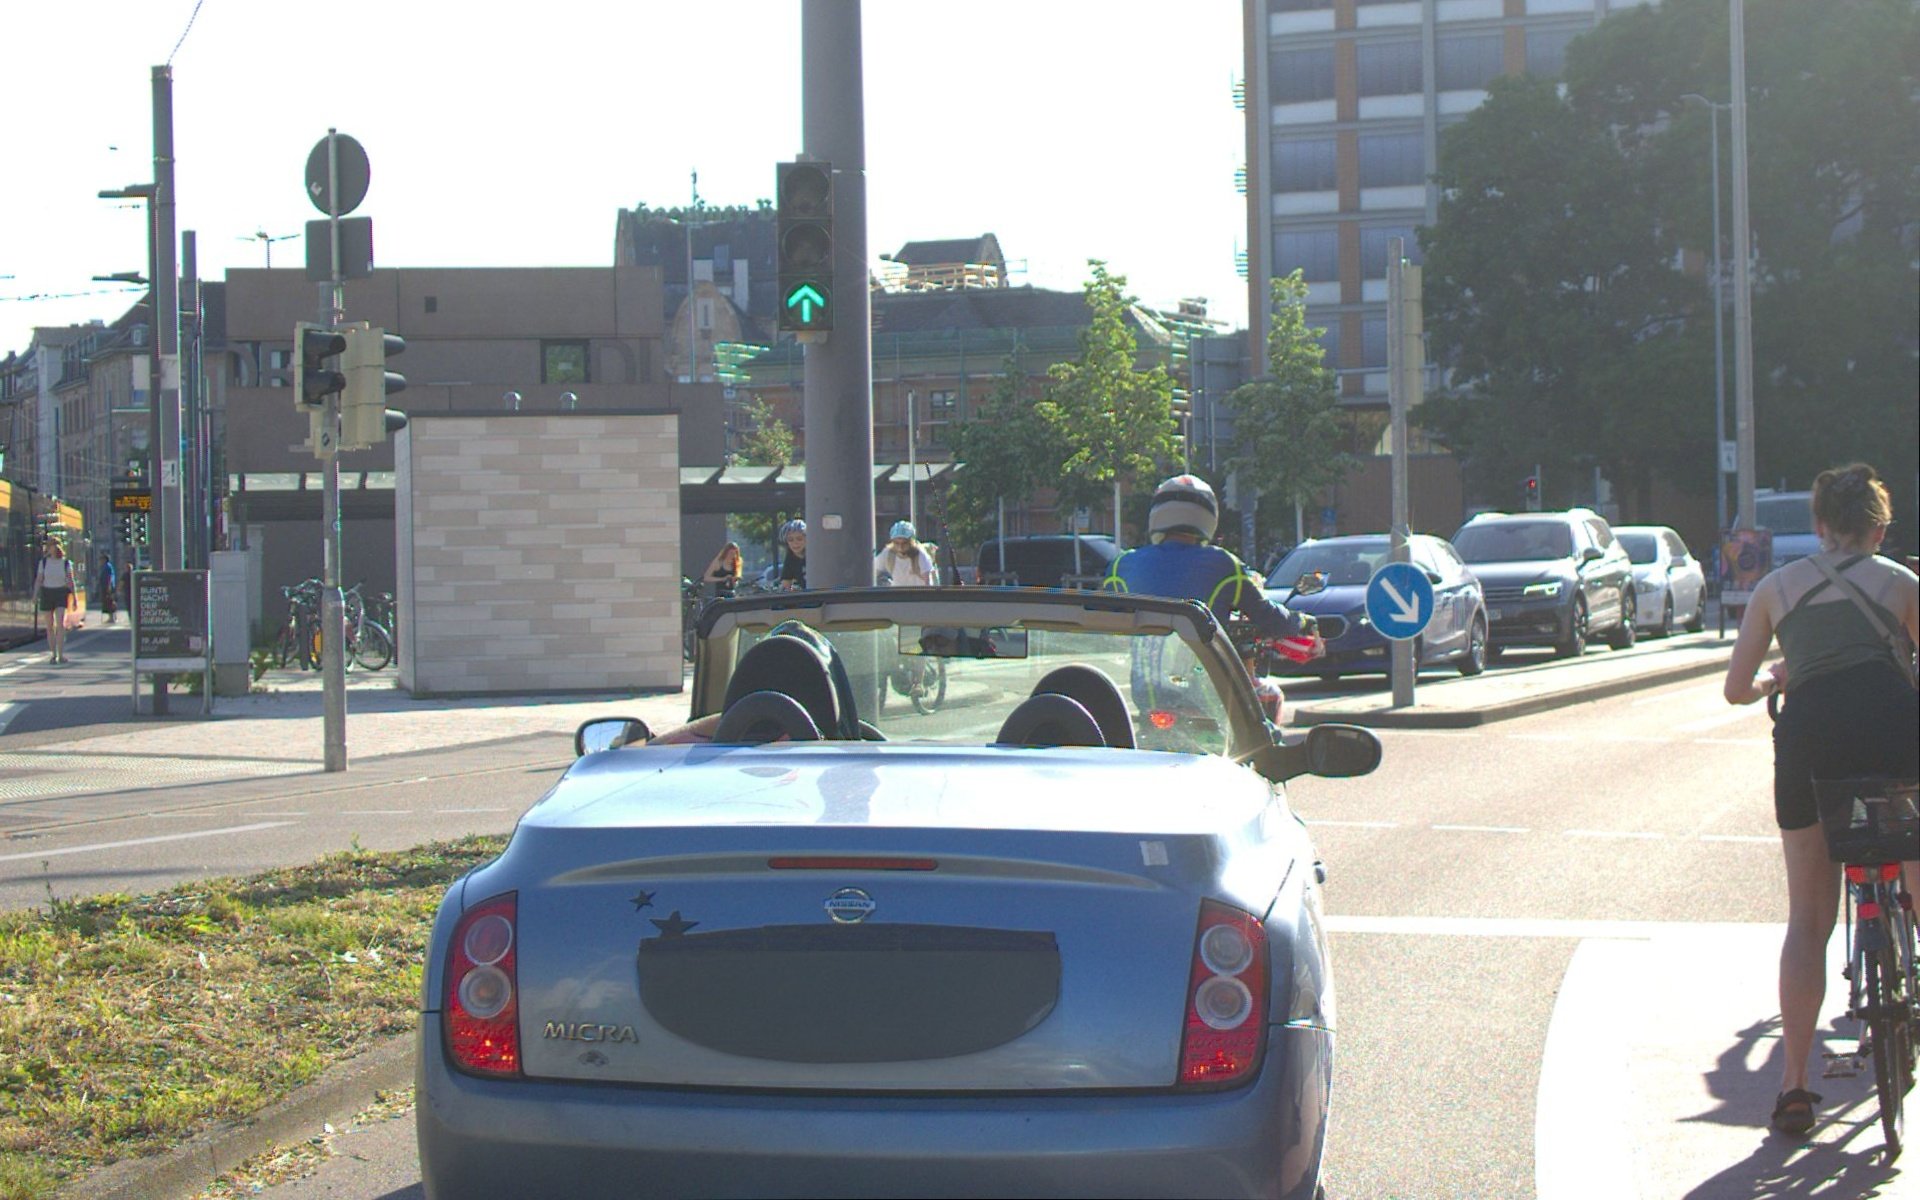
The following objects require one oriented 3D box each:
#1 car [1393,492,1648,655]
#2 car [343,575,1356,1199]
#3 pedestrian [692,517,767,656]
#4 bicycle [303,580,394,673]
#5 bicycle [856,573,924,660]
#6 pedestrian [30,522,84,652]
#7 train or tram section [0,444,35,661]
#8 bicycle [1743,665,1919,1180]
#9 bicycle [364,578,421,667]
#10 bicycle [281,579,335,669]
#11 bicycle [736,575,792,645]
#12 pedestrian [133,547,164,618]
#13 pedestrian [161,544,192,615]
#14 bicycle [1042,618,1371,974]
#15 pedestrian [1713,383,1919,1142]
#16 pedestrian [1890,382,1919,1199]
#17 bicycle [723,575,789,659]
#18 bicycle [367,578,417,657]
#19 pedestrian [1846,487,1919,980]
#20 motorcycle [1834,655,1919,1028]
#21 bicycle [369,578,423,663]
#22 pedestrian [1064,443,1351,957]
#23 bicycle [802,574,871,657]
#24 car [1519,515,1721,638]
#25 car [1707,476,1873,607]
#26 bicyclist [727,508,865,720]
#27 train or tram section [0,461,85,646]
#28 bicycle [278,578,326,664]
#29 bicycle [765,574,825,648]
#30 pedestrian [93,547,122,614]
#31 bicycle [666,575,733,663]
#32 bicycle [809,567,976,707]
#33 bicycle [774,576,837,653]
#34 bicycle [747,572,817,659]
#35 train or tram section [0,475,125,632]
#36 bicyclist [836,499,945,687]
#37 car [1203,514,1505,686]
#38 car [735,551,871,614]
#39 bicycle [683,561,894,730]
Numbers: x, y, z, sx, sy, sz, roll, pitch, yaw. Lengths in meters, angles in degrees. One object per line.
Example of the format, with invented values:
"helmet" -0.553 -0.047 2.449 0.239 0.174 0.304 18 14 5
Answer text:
"car" 6.471 -0.327 39.300 1.763 1.700 4.525 -2 0 24
"car" 0.033 0.678 7.693 1.660 1.436 4.153 1 1 6
"pedestrian" -3.137 -0.182 46.696 0.900 1.862 0.687 1 0 -12
"bicycle" -7.545 0.318 42.466 0.607 1.111 1.896 1 1 5
"bicycle" -0.936 0.208 45.568 0.606 1.111 1.897 1 1 -10
"pedestrian" -12.297 -0.183 46.813 0.637 1.743 0.572 -1 1 -19
"train or tram section" -18.166 -0.851 60.680 2.880 3.584 12.203 1 1 -12
"bicycle" 2.377 0.775 9.013 0.564 1.147 1.948 1 1 14
"bicycle" -7.339 0.278 44.401 0.606 1.111 1.897 1 1 -12
"bicycle" -8.365 0.301 44.070 0.606 1.111 1.897 1 1 -12
"bicycle" -3.245 0.158 56.749 0.606 1.111 1.897 1 1 -12
"pedestrian" -20.104 -0.428 85.189 0.637 1.743 0.736 -1 1 -19
"pedestrian" -19.481 -0.508 85.504 0.637 1.743 0.736 -1 1 -19
"bicycle" 0.984 0.680 13.043 0.608 1.187 2.412 1 1 20
"pedestrian" 2.316 0.393 8.896 0.659 1.862 0.872 1 0 15
"pedestrian" 2.489 0.456 7.397 0.806 1.862 0.956 1 0 8
"bicycle" -2.807 0.225 47.196 0.606 1.111 1.897 1 1 -12
"bicycle" -8.329 0.245 50.339 0.606 1.111 1.897 1 1 -12
"pedestrian" 3.331 0.432 11.605 0.588 1.593 1.024 1 0 17
"motorcycle" 3.348 0.764 11.678 0.614 1.094 2.358 1 1 17
"bicycle" -7.628 0.267 46.464 0.606 1.111 1.897 1 1 -12
"pedestrian" 0.950 0.354 13.038 0.834 1.862 0.920 1 0 21
"bicycle" -1.720 0.204 47.584 0.606 1.111 1.897 1 1 -12
"car" 8.893 -0.341 46.100 1.697 1.555 3.974 -1 1 25
"car" 13.401 -0.945 55.314 1.911 1.938 4.701 -2 0 21
"bicyclist" -1.317 0.109 27.750 0.709 1.651 0.900 -3 0 22
"train or tram section" -20.508 -0.992 72.670 3.011 3.584 12.203 1 1 -10
"bicycle" -8.799 0.276 45.995 0.606 1.111 1.897 1 1 -11
"bicycle" -2.561 0.162 53.243 0.606 1.111 1.897 1 1 -12
"pedestrian" -22.294 -0.513 89.926 0.604 1.743 0.832 -1 1 -8
"bicycle" -3.430 0.237 45.123 0.606 1.111 1.897 1 1 -12
"bicycle" -0.583 0.312 30.802 0.675 1.176 2.181 -1 1 22
"bicycle" -2.312 0.208 51.272 0.606 1.111 1.897 1 1 -12
"bicycle" -2.356 0.192 45.264 0.606 1.111 1.897 1 1 -12
"train or tram section" -22.576 -1.140 84.597 3.039 3.584 12.055 1 1 -9
"bicyclist" -0.619 -0.062 30.738 0.709 1.651 0.742 -1 1 22
"car" 3.915 -0.013 33.633 1.739 1.568 3.919 1 1 25
"car" -4.050 -0.454 88.482 1.640 1.555 3.599 -2 1 -39
"bicycle" -1.347 0.344 27.634 0.675 1.246 2.454 -3 0 22
